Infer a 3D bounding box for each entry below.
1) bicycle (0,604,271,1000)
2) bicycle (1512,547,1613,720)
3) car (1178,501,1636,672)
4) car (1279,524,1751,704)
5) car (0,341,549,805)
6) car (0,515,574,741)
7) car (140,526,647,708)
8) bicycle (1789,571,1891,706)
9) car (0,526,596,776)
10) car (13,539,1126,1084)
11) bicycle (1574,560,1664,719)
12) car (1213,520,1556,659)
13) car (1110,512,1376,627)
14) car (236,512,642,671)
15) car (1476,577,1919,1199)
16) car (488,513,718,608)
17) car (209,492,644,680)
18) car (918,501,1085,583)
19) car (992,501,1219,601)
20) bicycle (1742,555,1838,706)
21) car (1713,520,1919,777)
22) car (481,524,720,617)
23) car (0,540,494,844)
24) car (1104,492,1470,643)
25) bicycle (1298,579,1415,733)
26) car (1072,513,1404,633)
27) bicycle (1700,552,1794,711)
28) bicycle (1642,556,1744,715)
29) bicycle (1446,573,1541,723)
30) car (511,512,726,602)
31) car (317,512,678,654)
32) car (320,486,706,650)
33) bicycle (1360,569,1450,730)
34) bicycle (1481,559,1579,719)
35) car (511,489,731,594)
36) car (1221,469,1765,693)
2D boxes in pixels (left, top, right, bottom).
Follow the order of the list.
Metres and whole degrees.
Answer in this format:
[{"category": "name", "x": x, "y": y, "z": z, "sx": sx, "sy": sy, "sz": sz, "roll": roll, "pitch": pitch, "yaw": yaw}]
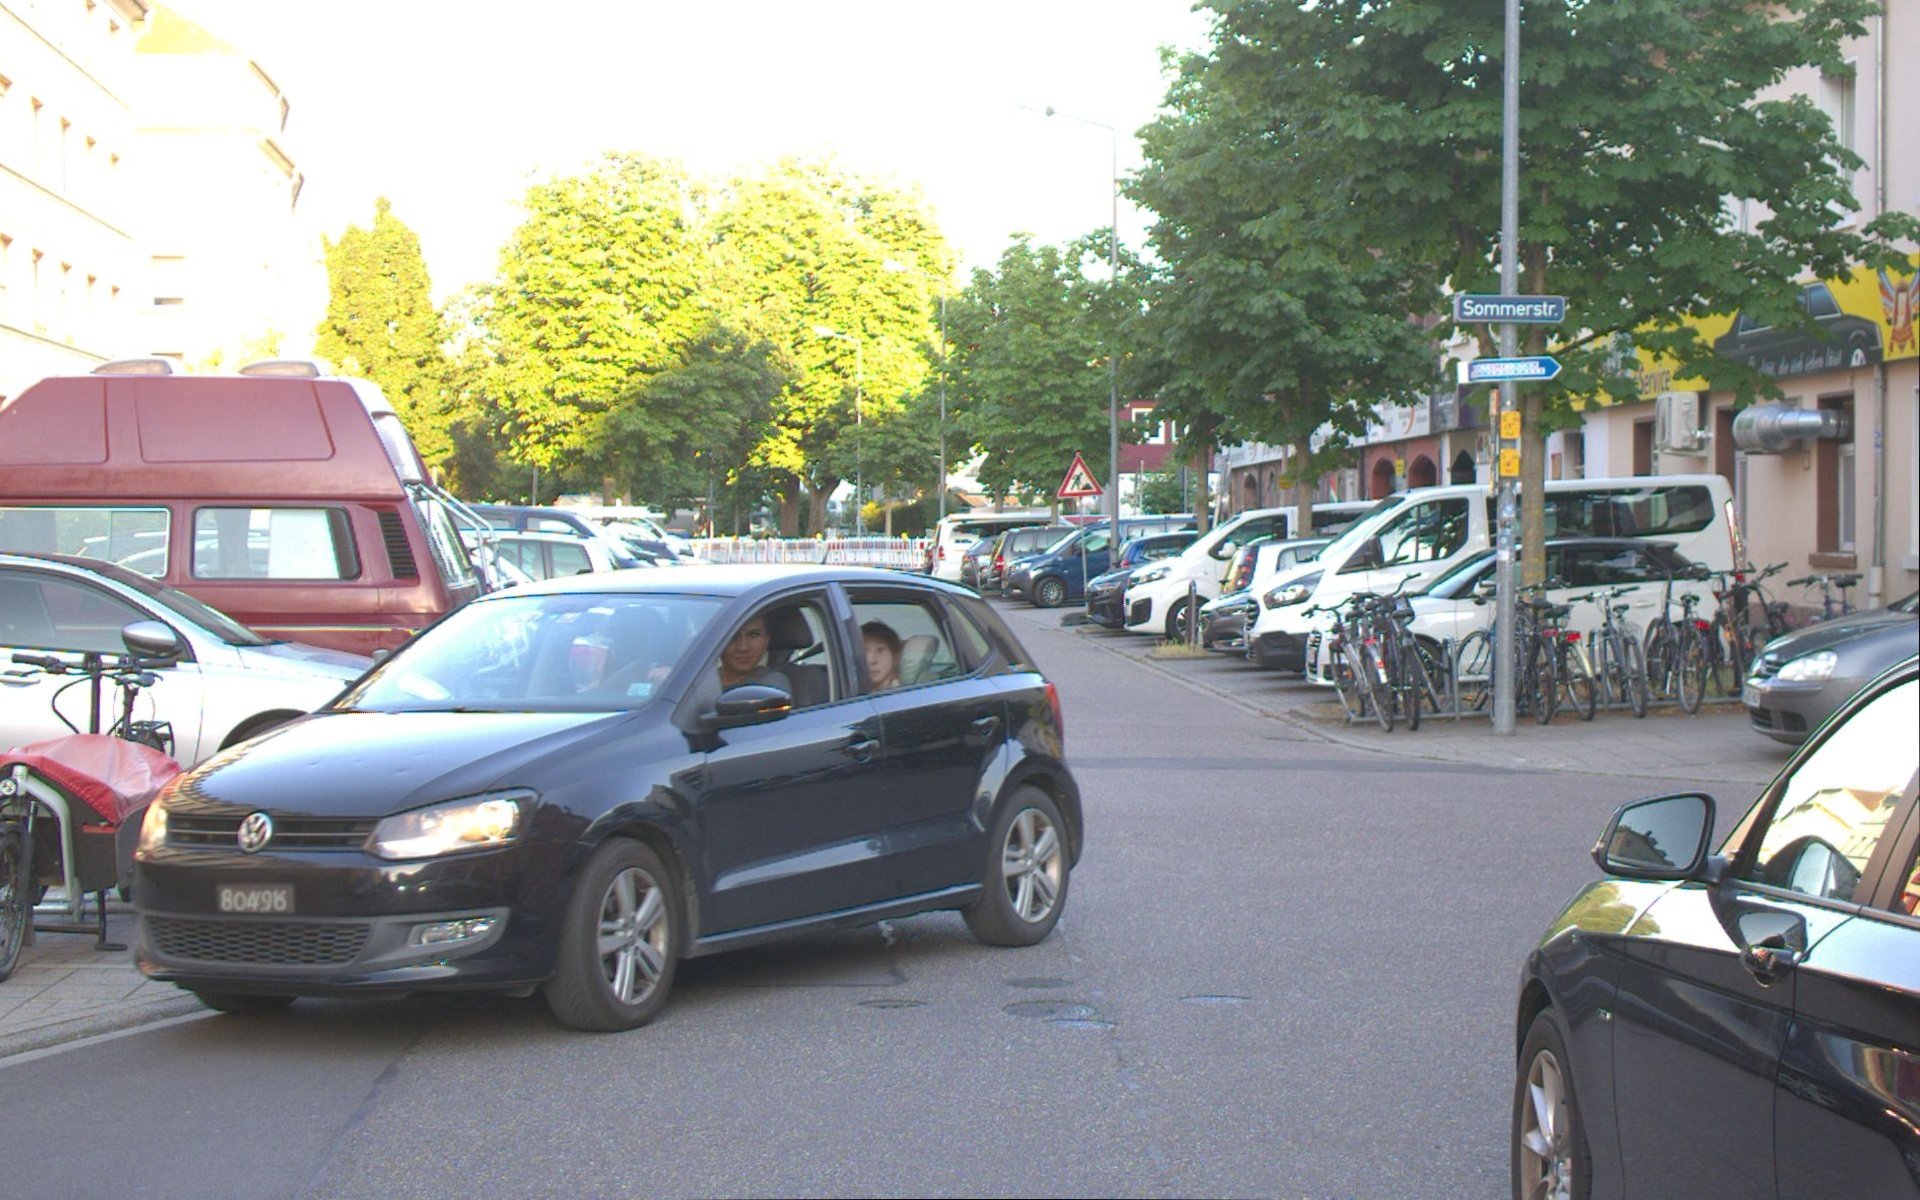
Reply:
[{"category": "bicycle", "x": -3.254, "y": 0.666, "z": 12.729, "sx": 0.807, "sy": 1.217, "sz": 2.865, "roll": 1, "pitch": 1, "yaw": 0}, {"category": "bicycle", "x": 4.776, "y": 0.241, "z": 27.336, "sx": 0.386, "sy": 1.300, "sz": 2.017, "roll": -1, "pitch": 1, "yaw": -1}, {"category": "car", "x": 5.080, "y": -0.176, "z": 39.573, "sx": 4.944, "sy": 1.736, "sz": 2.049, "roll": -2, "pitch": 1, "yaw": 0}, {"category": "car", "x": 5.028, "y": 0.105, "z": 31.468, "sx": 3.918, "sy": 1.446, "sz": 1.769, "roll": -2, "pitch": 1, "yaw": -3}, {"category": "car", "x": -4.864, "y": -0.192, "z": 20.568, "sx": 4.511, "sy": 2.575, "sz": 2.000, "roll": 1, "pitch": 1, "yaw": 0}, {"category": "car", "x": -5.157, "y": 0.176, "z": 25.709, "sx": 4.210, "sy": 1.532, "sz": 1.842, "roll": 1, "pitch": 1, "yaw": 5}, {"category": "car", "x": -5.000, "y": 0.131, "z": 30.754, "sx": 4.209, "sy": 1.484, "sz": 1.850, "roll": 1, "pitch": 1, "yaw": -1}, {"category": "bicycle", "x": 6.973, "y": 0.290, "z": 27.294, "sx": 0.387, "sy": 1.013, "sz": 1.481, "roll": -1, "pitch": 1, "yaw": -1}, {"category": "car", "x": -4.631, "y": 0.313, "z": 23.151, "sx": 4.208, "sy": 1.532, "sz": 1.791, "roll": 1, "pitch": 1, "yaw": -3}, {"category": "car", "x": -1.119, "y": 0.552, "z": 11.645, "sx": 1.655, "sy": 1.450, "sz": 3.935, "roll": 0, "pitch": 2, "yaw": 32}, {"category": "bicycle", "x": 5.201, "y": 0.292, "z": 27.186, "sx": 0.386, "sy": 1.196, "sz": 1.481, "roll": -1, "pitch": 1, "yaw": -1}, {"category": "car", "x": 5.168, "y": -0.148, "z": 42.232, "sx": 3.911, "sy": 1.521, "sz": 1.939, "roll": -2, "pitch": 1, "yaw": 0}, {"category": "car", "x": 4.852, "y": -0.538, "z": 59.263, "sx": 4.316, "sy": 1.798, "sz": 1.811, "roll": -2, "pitch": 1, "yaw": -3}, {"category": "car", "x": -5.799, "y": -0.114, "z": 38.634, "sx": 4.256, "sy": 1.654, "sz": 2.000, "roll": 1, "pitch": 1, "yaw": -1}, {"category": "car", "x": 2.001, "y": 0.727, "z": 5.011, "sx": 1.721, "sy": 1.419, "sz": 4.254, "roll": 1, "pitch": 1, "yaw": -2}, {"category": "car", "x": -6.880, "y": -0.775, "z": 66.623, "sx": 4.256, "sy": 1.709, "sz": 2.000, "roll": 1, "pitch": 1, "yaw": -1}, {"category": "car", "x": -5.550, "y": -0.167, "z": 36.163, "sx": 4.256, "sy": 1.830, "sz": 2.000, "roll": 1, "pitch": 1, "yaw": -1}, {"category": "car", "x": 1.026, "y": -1.483, "z": 87.373, "sx": 3.967, "sy": 1.905, "sz": 2.050, "roll": -2, "pitch": 1, "yaw": -6}, {"category": "car", "x": 3.031, "y": -1.033, "z": 71.944, "sx": 4.478, "sy": 1.905, "sz": 1.688, "roll": -2, "pitch": 1, "yaw": -6}, {"category": "bicycle", "x": 6.568, "y": 0.228, "z": 27.242, "sx": 0.353, "sy": 1.139, "sz": 1.481, "roll": -1, "pitch": 1, "yaw": -1}, {"category": "car", "x": 7.097, "y": 0.250, "z": 22.212, "sx": 4.050, "sy": 1.509, "sz": 1.756, "roll": -1, "pitch": 3, "yaw": 0}, {"category": "car", "x": -6.642, "y": -0.558, "z": 63.888, "sx": 4.256, "sy": 1.616, "sz": 2.000, "roll": 1, "pitch": 1, "yaw": -2}, {"category": "car", "x": -4.835, "y": 0.426, "z": 18.002, "sx": 4.615, "sy": 1.455, "sz": 1.881, "roll": 1, "pitch": 1, "yaw": -4}, {"category": "car", "x": 4.668, "y": -0.484, "z": 49.553, "sx": 4.943, "sy": 1.951, "sz": 2.049, "roll": -2, "pitch": 1, "yaw": -3}, {"category": "bicycle", "x": 3.108, "y": 0.420, "z": 27.103, "sx": 0.438, "sy": 1.126, "sz": 2.018, "roll": -1, "pitch": 1, "yaw": -7}, {"category": "car", "x": 4.353, "y": -0.449, "z": 54.350, "sx": 4.943, "sy": 1.683, "sz": 2.077, "roll": -2, "pitch": 1, "yaw": -3}, {"category": "bicycle", "x": 6.209, "y": 0.233, "z": 27.156, "sx": 0.353, "sy": 1.196, "sz": 1.481, "roll": -1, "pitch": 1, "yaw": -1}, {"category": "bicycle", "x": 5.780, "y": 0.260, "z": 27.161, "sx": 0.445, "sy": 1.196, "sz": 1.481, "roll": -1, "pitch": 1, "yaw": -1}, {"category": "bicycle", "x": 4.230, "y": 0.358, "z": 27.336, "sx": 0.386, "sy": 1.110, "sz": 2.017, "roll": -1, "pitch": 1, "yaw": -1}, {"category": "car", "x": -7.059, "y": -0.899, "z": 71.392, "sx": 4.256, "sy": 1.743, "sz": 2.000, "roll": 1, "pitch": 1, "yaw": -1}, {"category": "car", "x": -5.728, "y": -0.230, "z": 42.990, "sx": 4.256, "sy": 1.646, "sz": 1.888, "roll": 1, "pitch": 1, "yaw": -1}, {"category": "car", "x": -5.867, "y": -0.435, "z": 45.540, "sx": 4.850, "sy": 2.014, "sz": 1.907, "roll": 1, "pitch": 1, "yaw": -1}, {"category": "bicycle", "x": 3.521, "y": 0.370, "z": 27.294, "sx": 0.386, "sy": 1.196, "sz": 2.017, "roll": -1, "pitch": 1, "yaw": -1}, {"category": "bicycle", "x": 4.515, "y": 0.285, "z": 27.325, "sx": 0.386, "sy": 1.196, "sz": 2.017, "roll": -1, "pitch": 1, "yaw": -1}, {"category": "car", "x": -7.271, "y": -1.258, "z": 74.020, "sx": 4.533, "sy": 2.127, "sz": 2.000, "roll": 1, "pitch": 1, "yaw": -1}, {"category": "car", "x": 5.228, "y": -0.209, "z": 34.251, "sx": 4.989, "sy": 1.976, "sz": 2.220, "roll": -2, "pitch": 1, "yaw": -1}]
